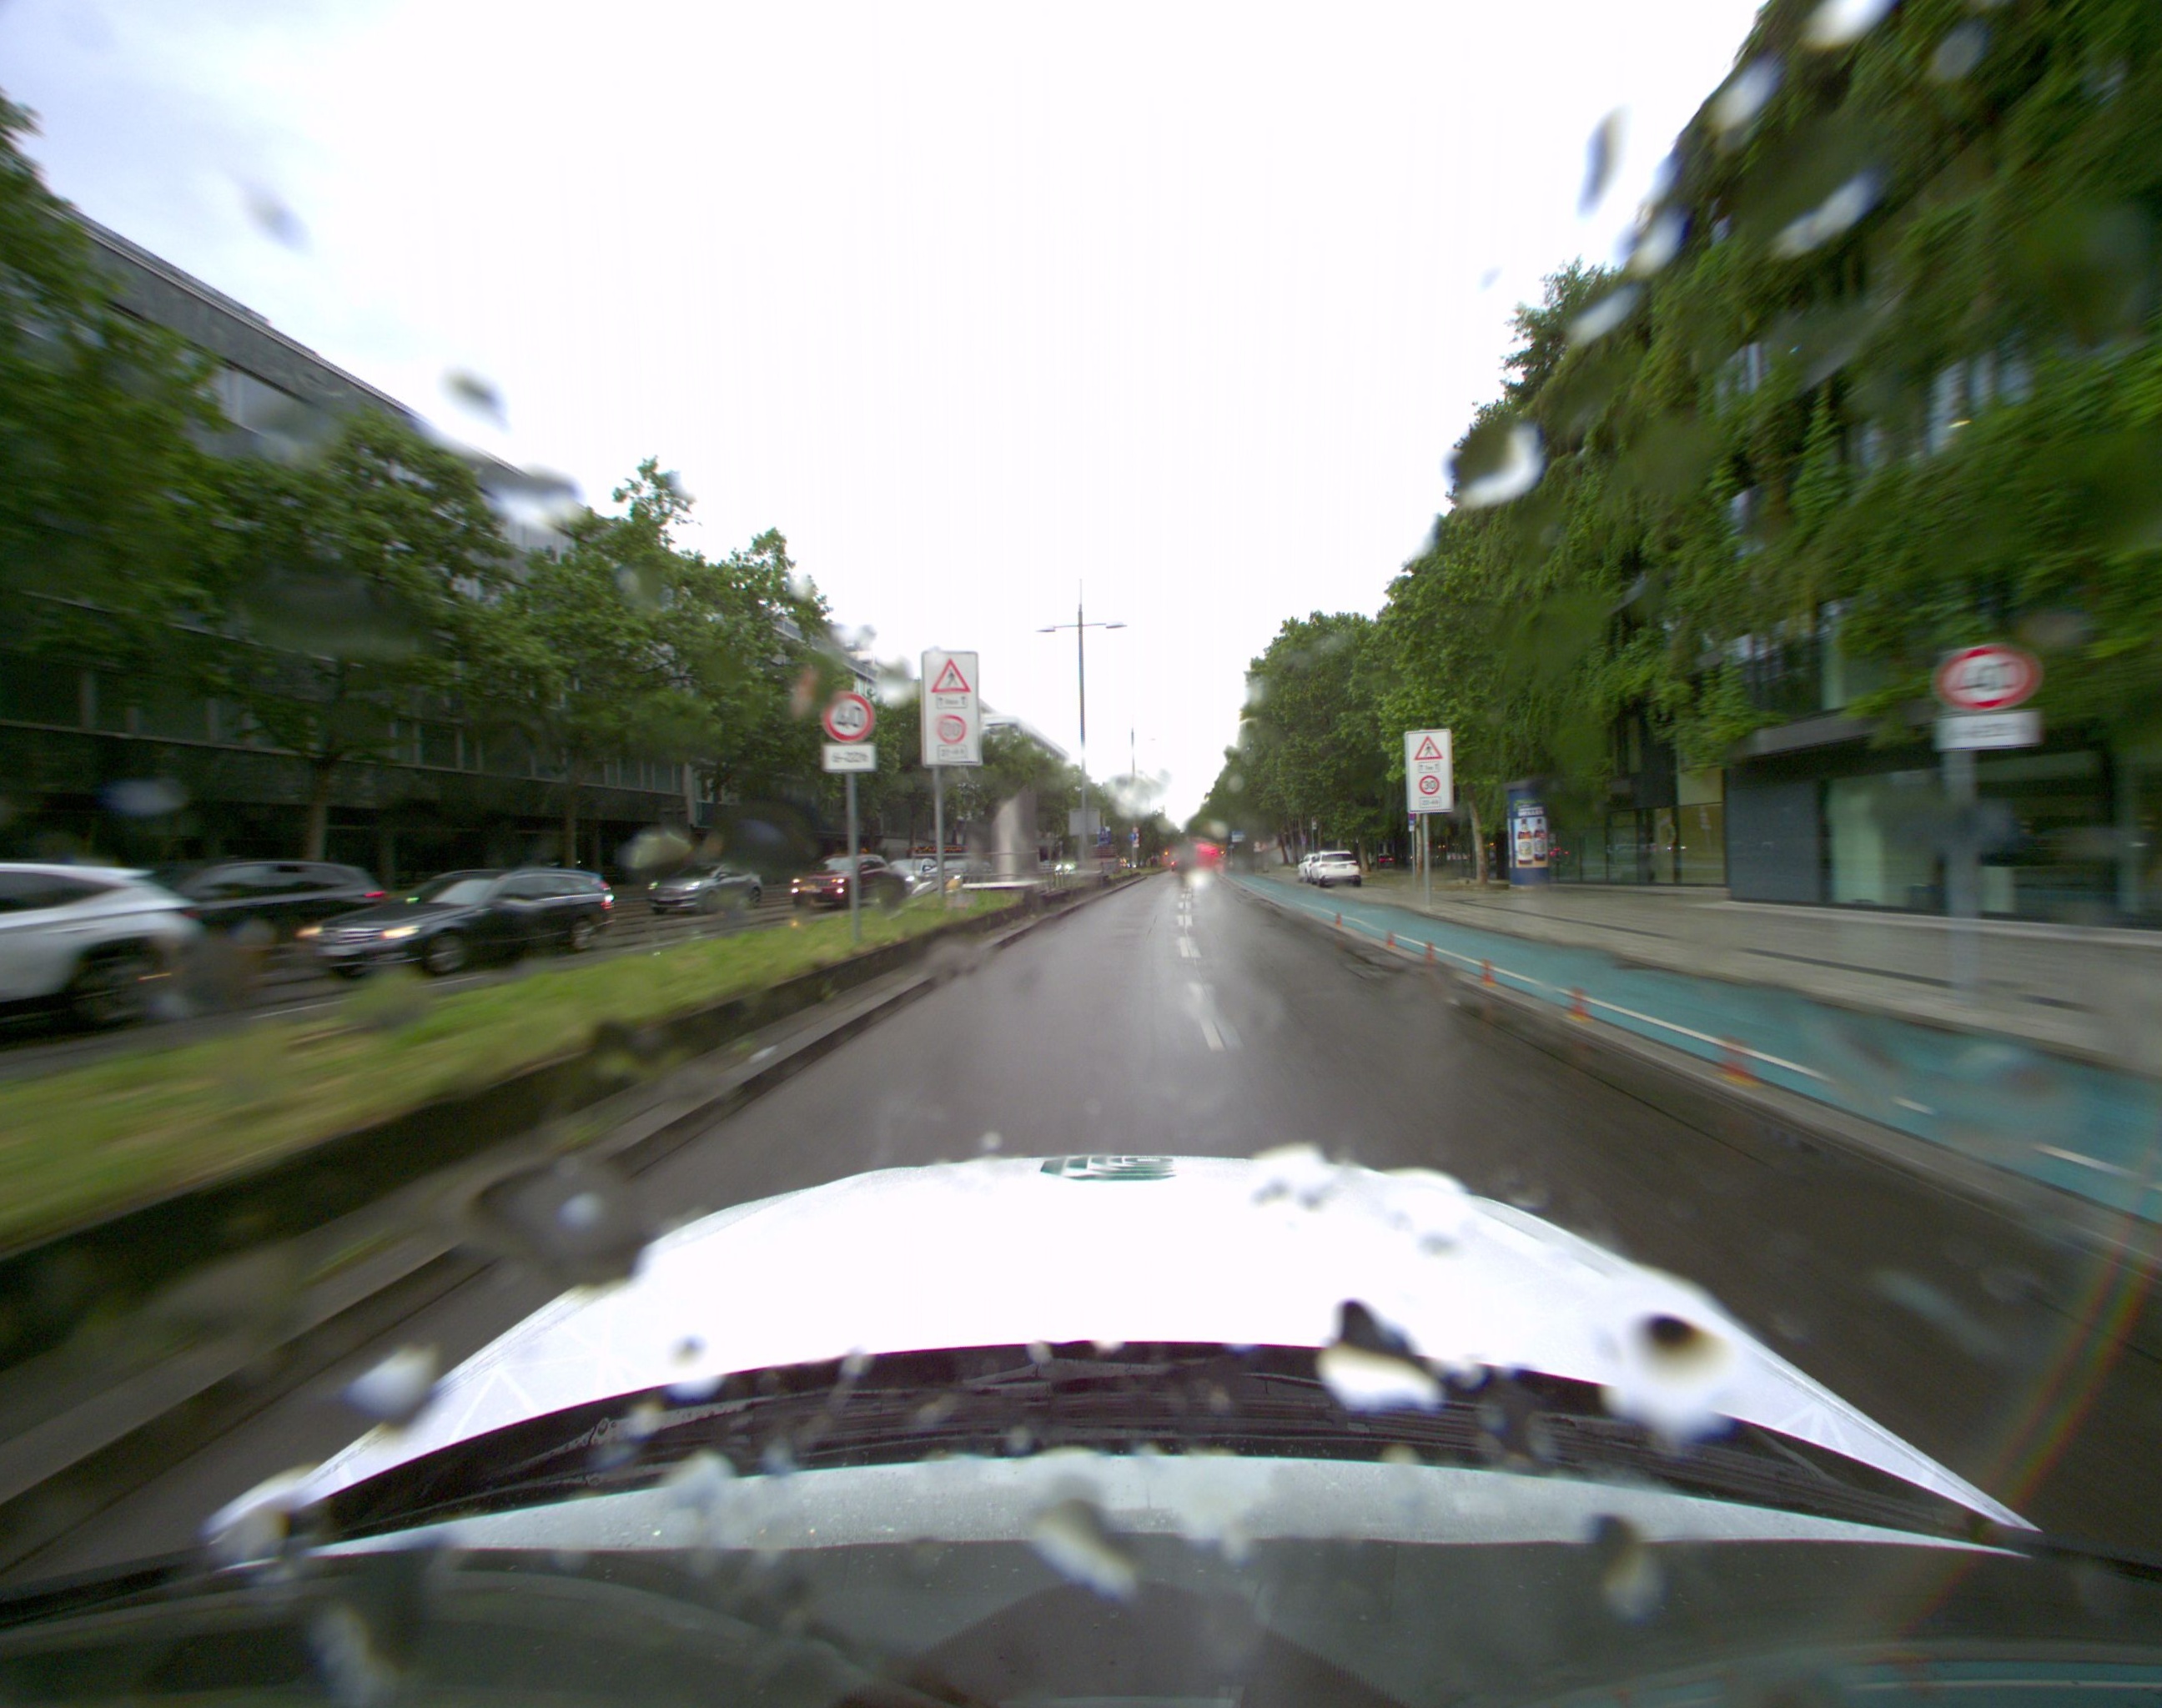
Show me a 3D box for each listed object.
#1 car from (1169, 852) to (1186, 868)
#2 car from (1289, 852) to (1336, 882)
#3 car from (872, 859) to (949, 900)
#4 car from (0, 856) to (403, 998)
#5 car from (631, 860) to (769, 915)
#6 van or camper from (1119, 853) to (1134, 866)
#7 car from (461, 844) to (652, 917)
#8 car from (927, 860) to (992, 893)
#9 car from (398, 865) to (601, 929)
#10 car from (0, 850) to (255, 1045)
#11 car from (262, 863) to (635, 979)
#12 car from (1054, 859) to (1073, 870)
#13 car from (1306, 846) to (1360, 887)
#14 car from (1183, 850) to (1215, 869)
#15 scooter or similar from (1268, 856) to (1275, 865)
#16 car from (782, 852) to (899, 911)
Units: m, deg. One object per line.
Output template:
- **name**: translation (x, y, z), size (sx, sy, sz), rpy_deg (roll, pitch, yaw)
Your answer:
- **car**: translation (11.941, 0.731, 100.610), size (1.983, 1.833, 4.008), rpy_deg (-1, 0, 7)
- **car**: translation (13.083, 0.696, 46.244), size (1.833, 1.632, 4.796), rpy_deg (-1, 0, 7)
- **car**: translation (-7.262, 1.037, 35.224), size (1.725, 1.573, 4.842), rpy_deg (-1, 0, 8)
- **car**: translation (-12.965, 0.898, 12.040), size (1.833, 1.665, 4.421), rpy_deg (-1, 0, 7)
- **car**: translation (-11.748, 0.973, 25.516), size (1.710, 1.491, 4.578), rpy_deg (-1, 0, 7)
- **van or camper**: translation (7.054, 0.895, 125.799), size (1.983, 1.913, 5.262), rpy_deg (-1, 0, 7)
- **car**: translation (-12.360, 0.587, 19.543), size (1.745, 1.565, 4.005), rpy_deg (-1, 0, 4)
- **car**: translation (-6.209, 1.130, 42.217), size (1.902, 1.552, 4.555), rpy_deg (-1, 0, 10)
- **car**: translation (-15.429, 1.075, 21.986), size (1.881, 1.446, 4.594), rpy_deg (-1, 0, 5)
- **car**: translation (-10.323, 0.823, 6.732), size (1.868, 1.685, 4.804), rpy_deg (-1, 0, 4)
- **car**: translation (-9.671, 0.914, 13.154), size (1.834, 1.451, 4.924), rpy_deg (-1, 0, 6)
- **car**: translation (-2.300, 1.358, 107.428), size (1.958, 1.409, 4.963), rpy_deg (-1, 0, 4)
- **car**: translation (12.339, 0.568, 40.206), size (1.832, 1.838, 5.107), rpy_deg (-2, 0, 9)
- **car**: translation (11.028, 0.510, 76.092), size (1.977, 1.655, 4.913), rpy_deg (-1, 0, 20)
- **scooter or similar**: translation (25.043, 0.822, 107.147), size (0.377, 1.228, 1.085), rpy_deg (-1, -1, 43)
- **car**: translation (-7.968, 0.838, 27.563), size (1.825, 1.766, 5.120), rpy_deg (-1, 0, 8)
